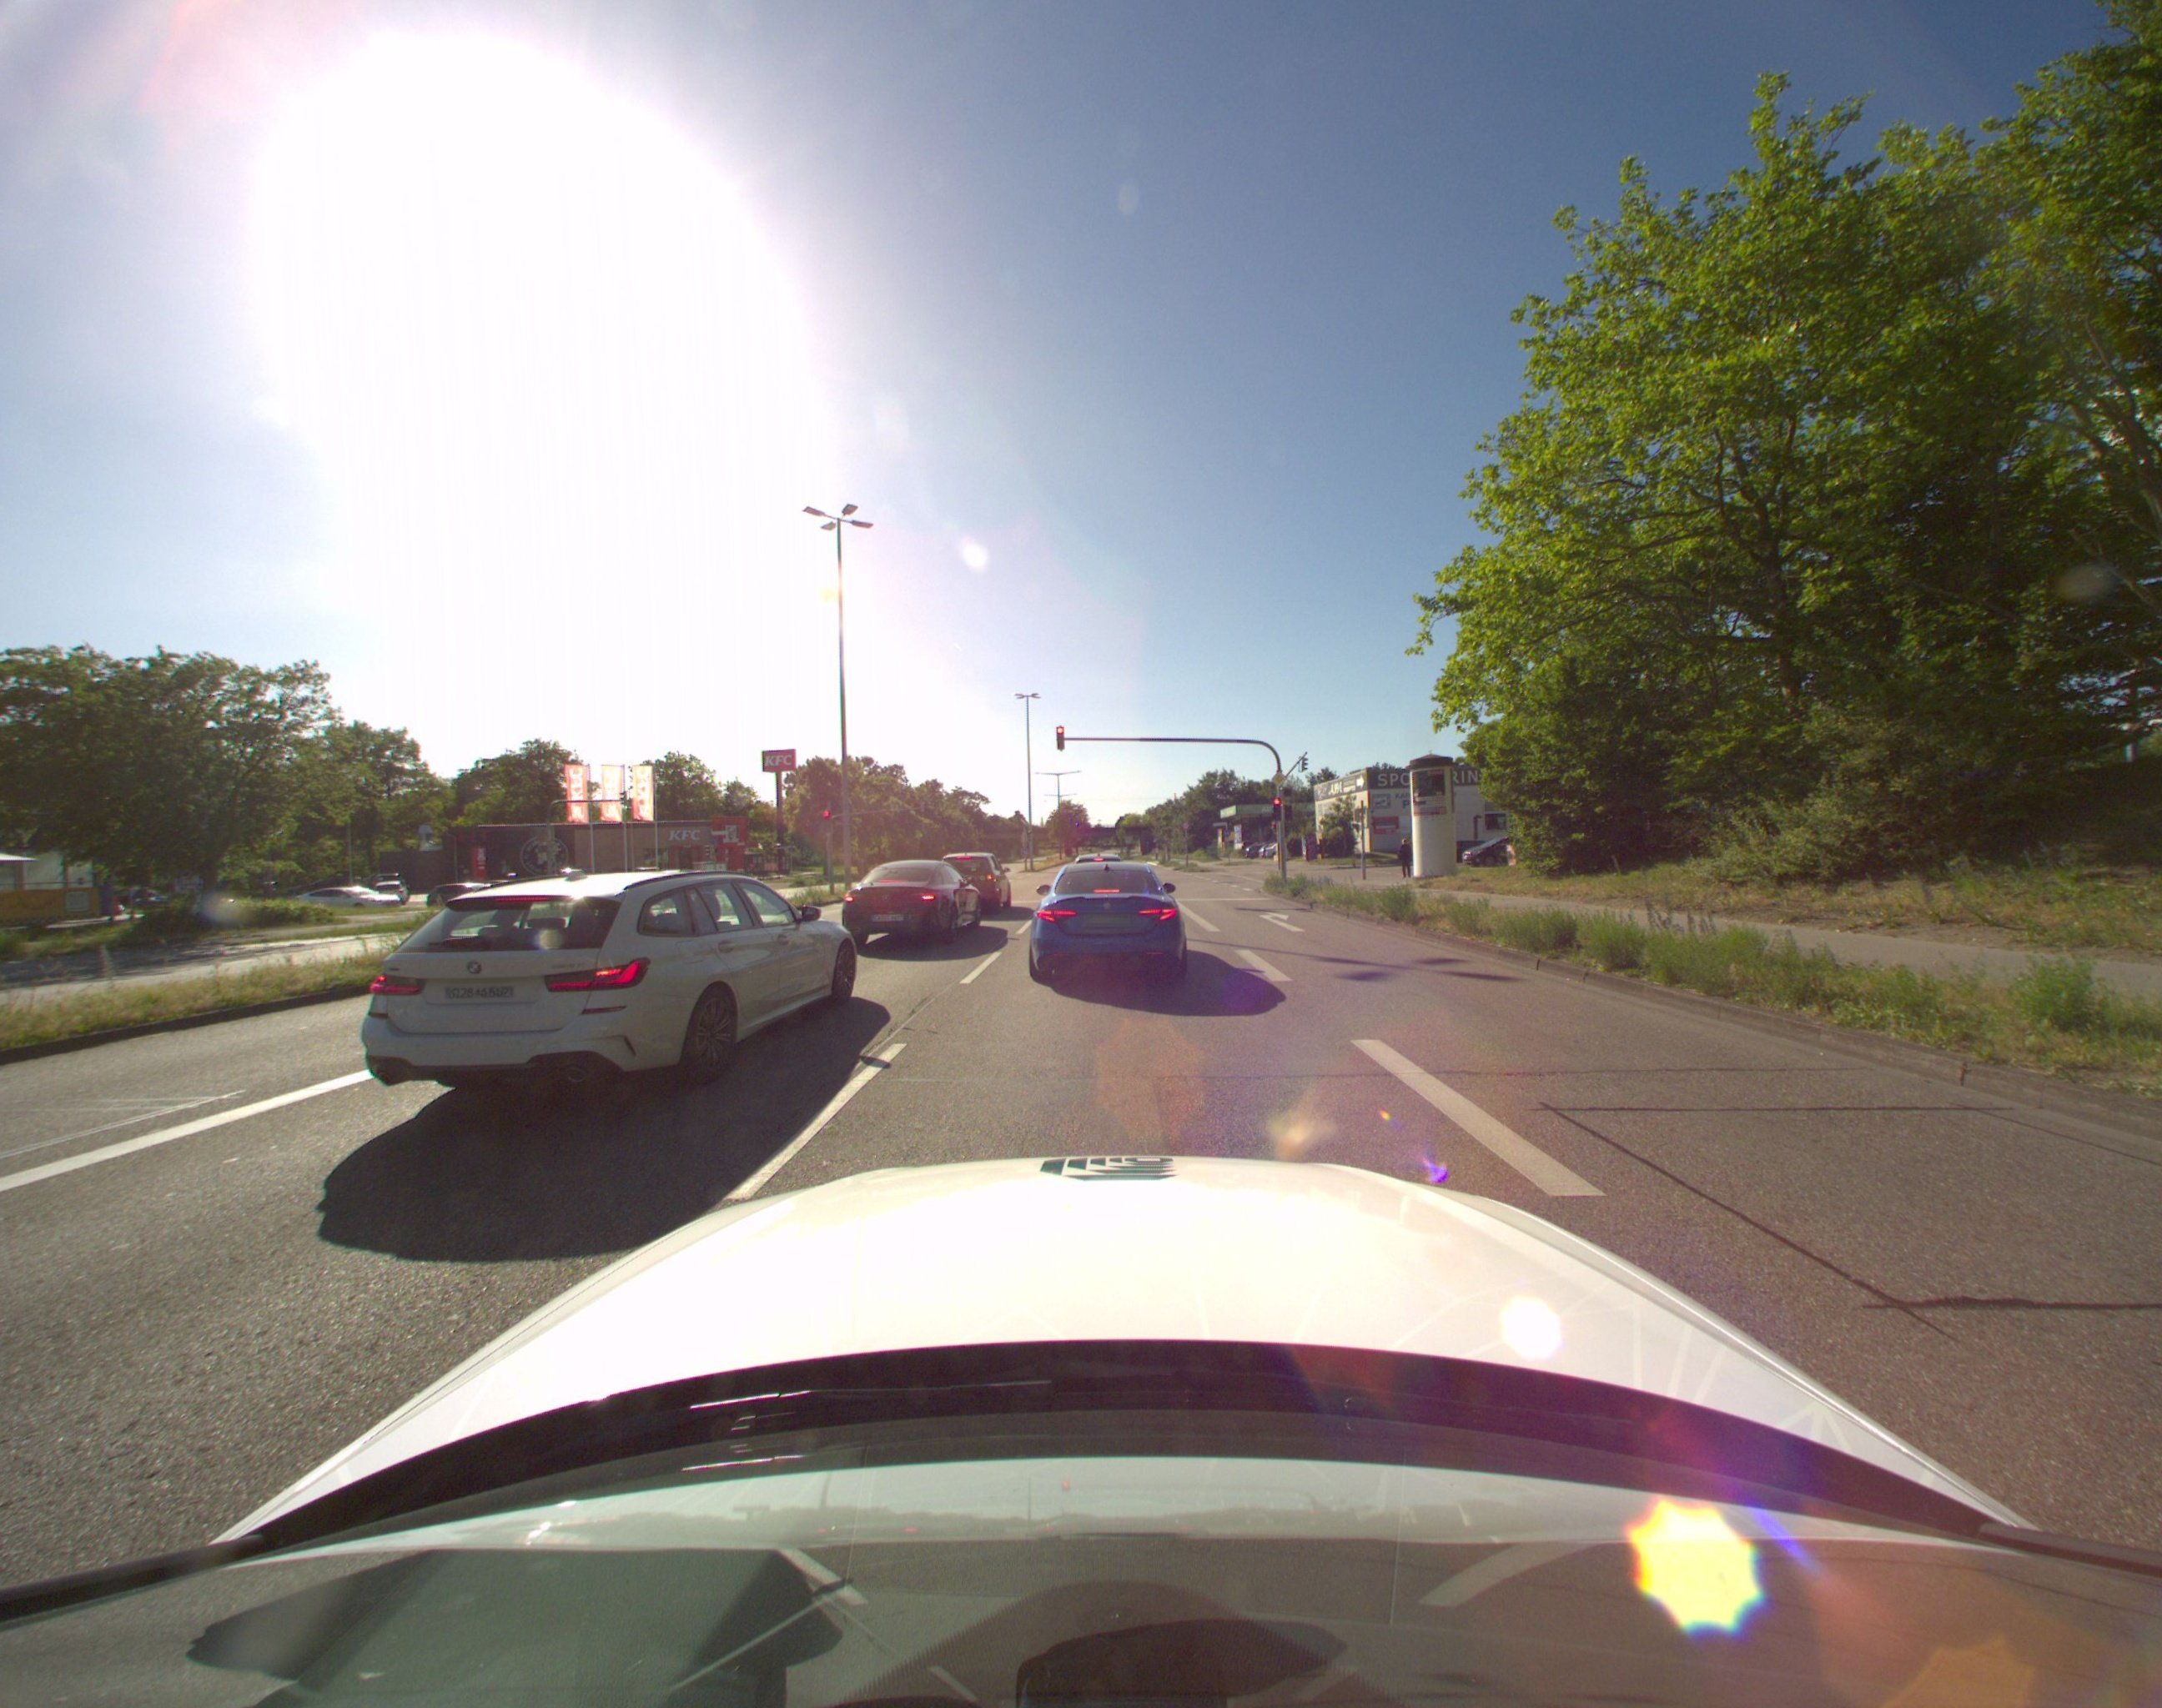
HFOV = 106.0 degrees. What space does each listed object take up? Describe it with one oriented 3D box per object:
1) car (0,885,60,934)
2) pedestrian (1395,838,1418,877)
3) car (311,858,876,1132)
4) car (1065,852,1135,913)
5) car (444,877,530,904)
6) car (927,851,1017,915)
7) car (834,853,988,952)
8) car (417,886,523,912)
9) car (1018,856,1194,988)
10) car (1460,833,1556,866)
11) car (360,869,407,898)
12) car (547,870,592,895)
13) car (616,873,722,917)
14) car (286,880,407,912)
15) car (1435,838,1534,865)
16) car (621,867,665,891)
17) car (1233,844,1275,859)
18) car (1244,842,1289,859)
[{"bbox_3d":[-34.096,1.713,24.303,1.981,1.442,4.012,-1,-1,11],"label":"car"},{"bbox_3d":[14.398,0.158,36.035,0.814,1.669,0.514,0,-1,1],"label":"pedestrian"},{"bbox_3d":[-3.303,0.800,6.834,1.805,1.486,4.599,0,0,2],"label":"car"},{"bbox_3d":[0.581,0.710,21.732,1.696,1.497,3.722,0,-1,4],"label":"car"},{"bbox_3d":[-36.161,2.206,49.651,3.751,1.559,1.998,0,-1,-3],"label":"car"},{"bbox_3d":[-2.830,0.729,22.029,1.806,1.551,4.353,0,-1,0],"label":"car"},{"bbox_3d":[-2.984,0.771,15.318,1.805,1.551,4.544,-1,0,1],"label":"car"},{"bbox_3d":[-31.960,2.337,42.676,4.070,1.252,1.871,0,-1,0],"label":"car"},{"bbox_3d":[0.384,0.761,10.715,1.901,1.423,3.722,0,-1,4],"label":"car"},{"bbox_3d":[22.677,-0.227,43.342,4.291,1.650,1.638,0,-1,1],"label":"car"},{"bbox_3d":[-46.148,1.940,53.863,3.725,1.813,2.012,-1,-1,44],"label":"car"},{"bbox_3d":[-37.124,2.048,59.035,1.946,1.740,4.046,0,-1,-45],"label":"car"},{"bbox_3d":[-18.194,1.771,36.243,1.790,1.726,4.338,-1,0,14],"label":"car"},{"bbox_3d":[-38.872,2.218,43.174,4.608,1.579,1.936,0,-1,0],"label":"car"},{"bbox_3d":[23.002,-0.155,46.574,4.803,1.468,1.758,0,-1,0],"label":"car"},{"bbox_3d":[-33.650,1.889,62.498,1.946,1.740,4.046,0,-1,-45],"label":"car"},{"bbox_3d":[18.546,-0.280,87.386,3.995,1.552,1.989,0,-1,-16],"label":"car"},{"bbox_3d":[17.902,-0.345,78.829,3.971,1.552,2.001,0,-1,2],"label":"car"}]
